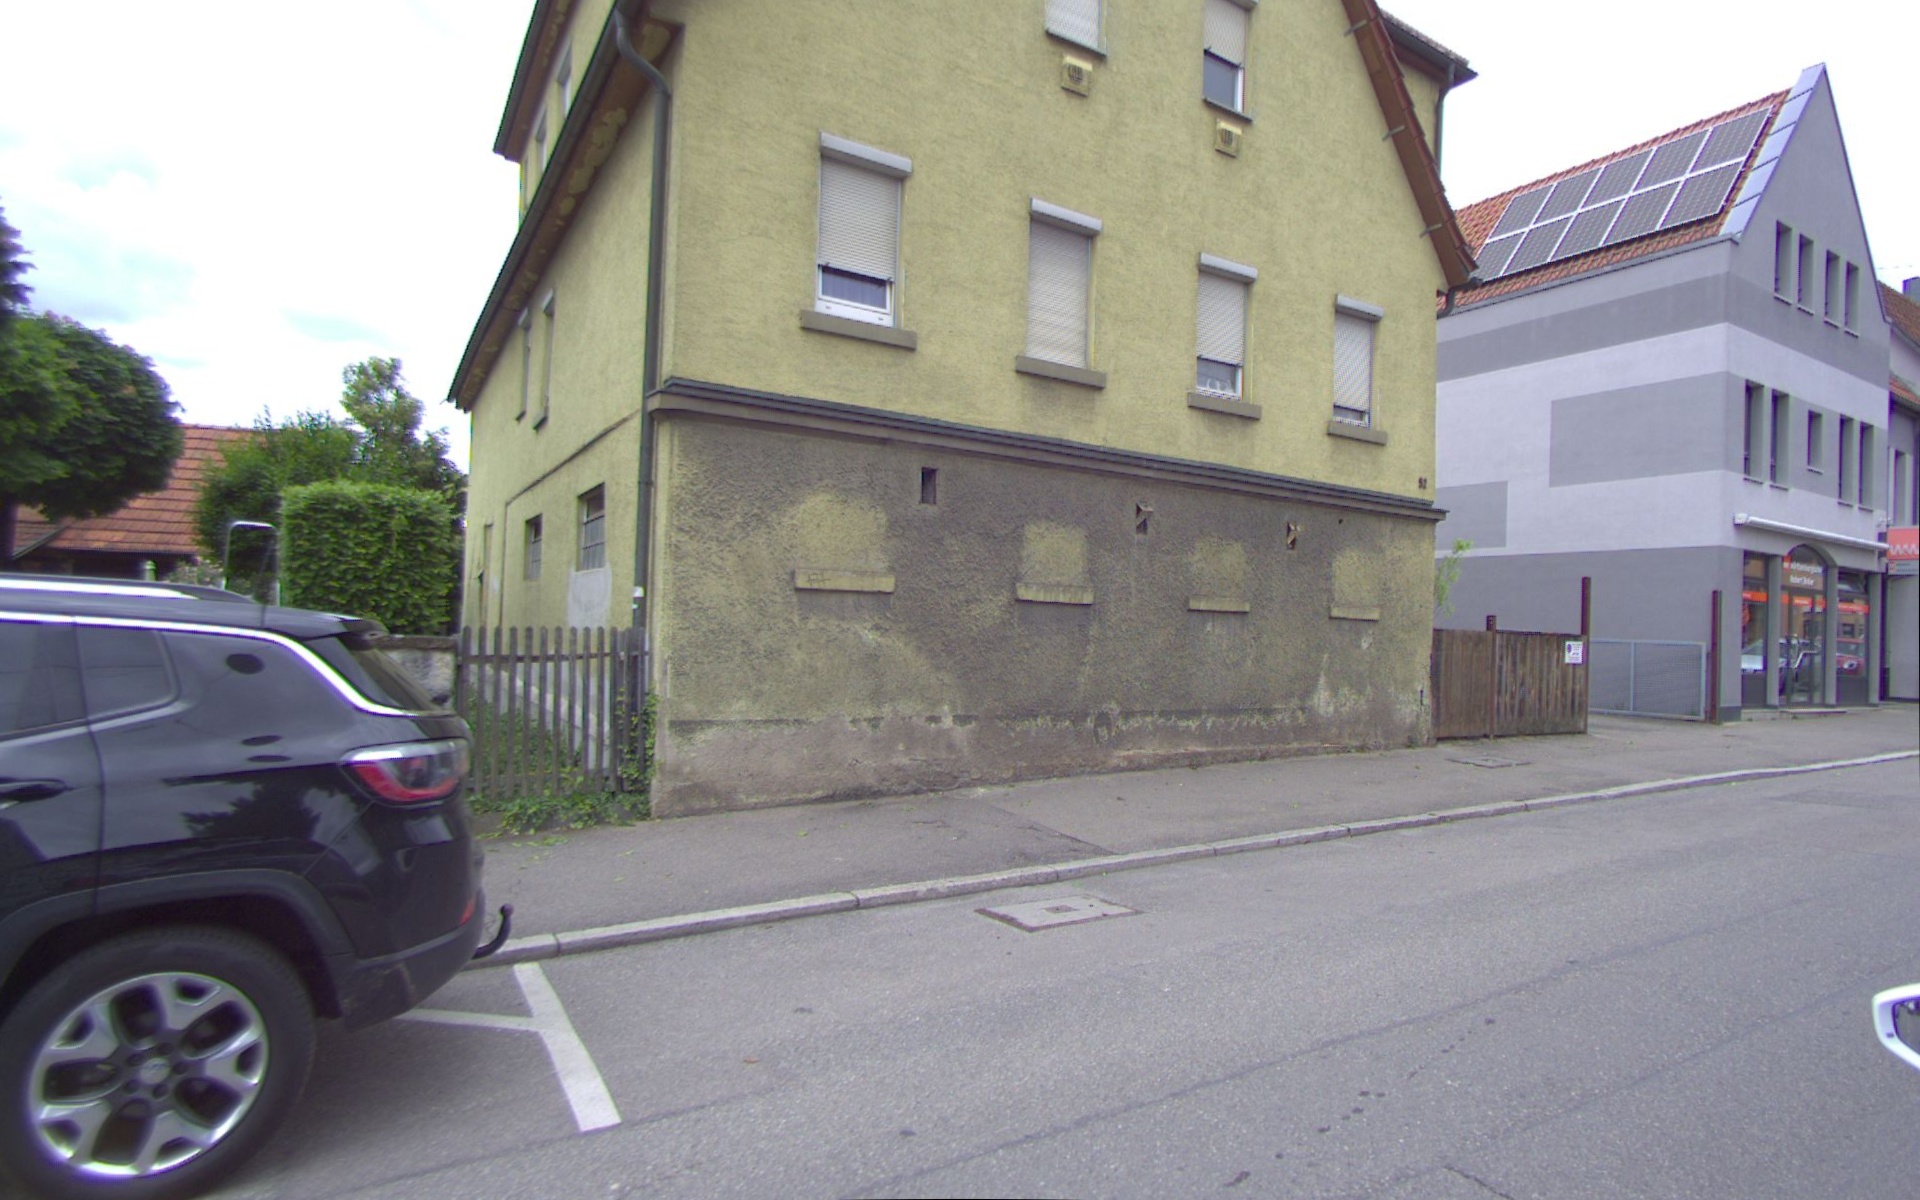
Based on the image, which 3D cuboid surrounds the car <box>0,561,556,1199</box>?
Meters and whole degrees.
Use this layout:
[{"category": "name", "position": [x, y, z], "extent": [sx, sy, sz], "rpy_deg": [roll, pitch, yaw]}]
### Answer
[{"category": "car", "position": [-3.626, 0.762, 2.726], "extent": [4.473, 1.640, 1.887], "rpy_deg": [0, -2, -31]}]
